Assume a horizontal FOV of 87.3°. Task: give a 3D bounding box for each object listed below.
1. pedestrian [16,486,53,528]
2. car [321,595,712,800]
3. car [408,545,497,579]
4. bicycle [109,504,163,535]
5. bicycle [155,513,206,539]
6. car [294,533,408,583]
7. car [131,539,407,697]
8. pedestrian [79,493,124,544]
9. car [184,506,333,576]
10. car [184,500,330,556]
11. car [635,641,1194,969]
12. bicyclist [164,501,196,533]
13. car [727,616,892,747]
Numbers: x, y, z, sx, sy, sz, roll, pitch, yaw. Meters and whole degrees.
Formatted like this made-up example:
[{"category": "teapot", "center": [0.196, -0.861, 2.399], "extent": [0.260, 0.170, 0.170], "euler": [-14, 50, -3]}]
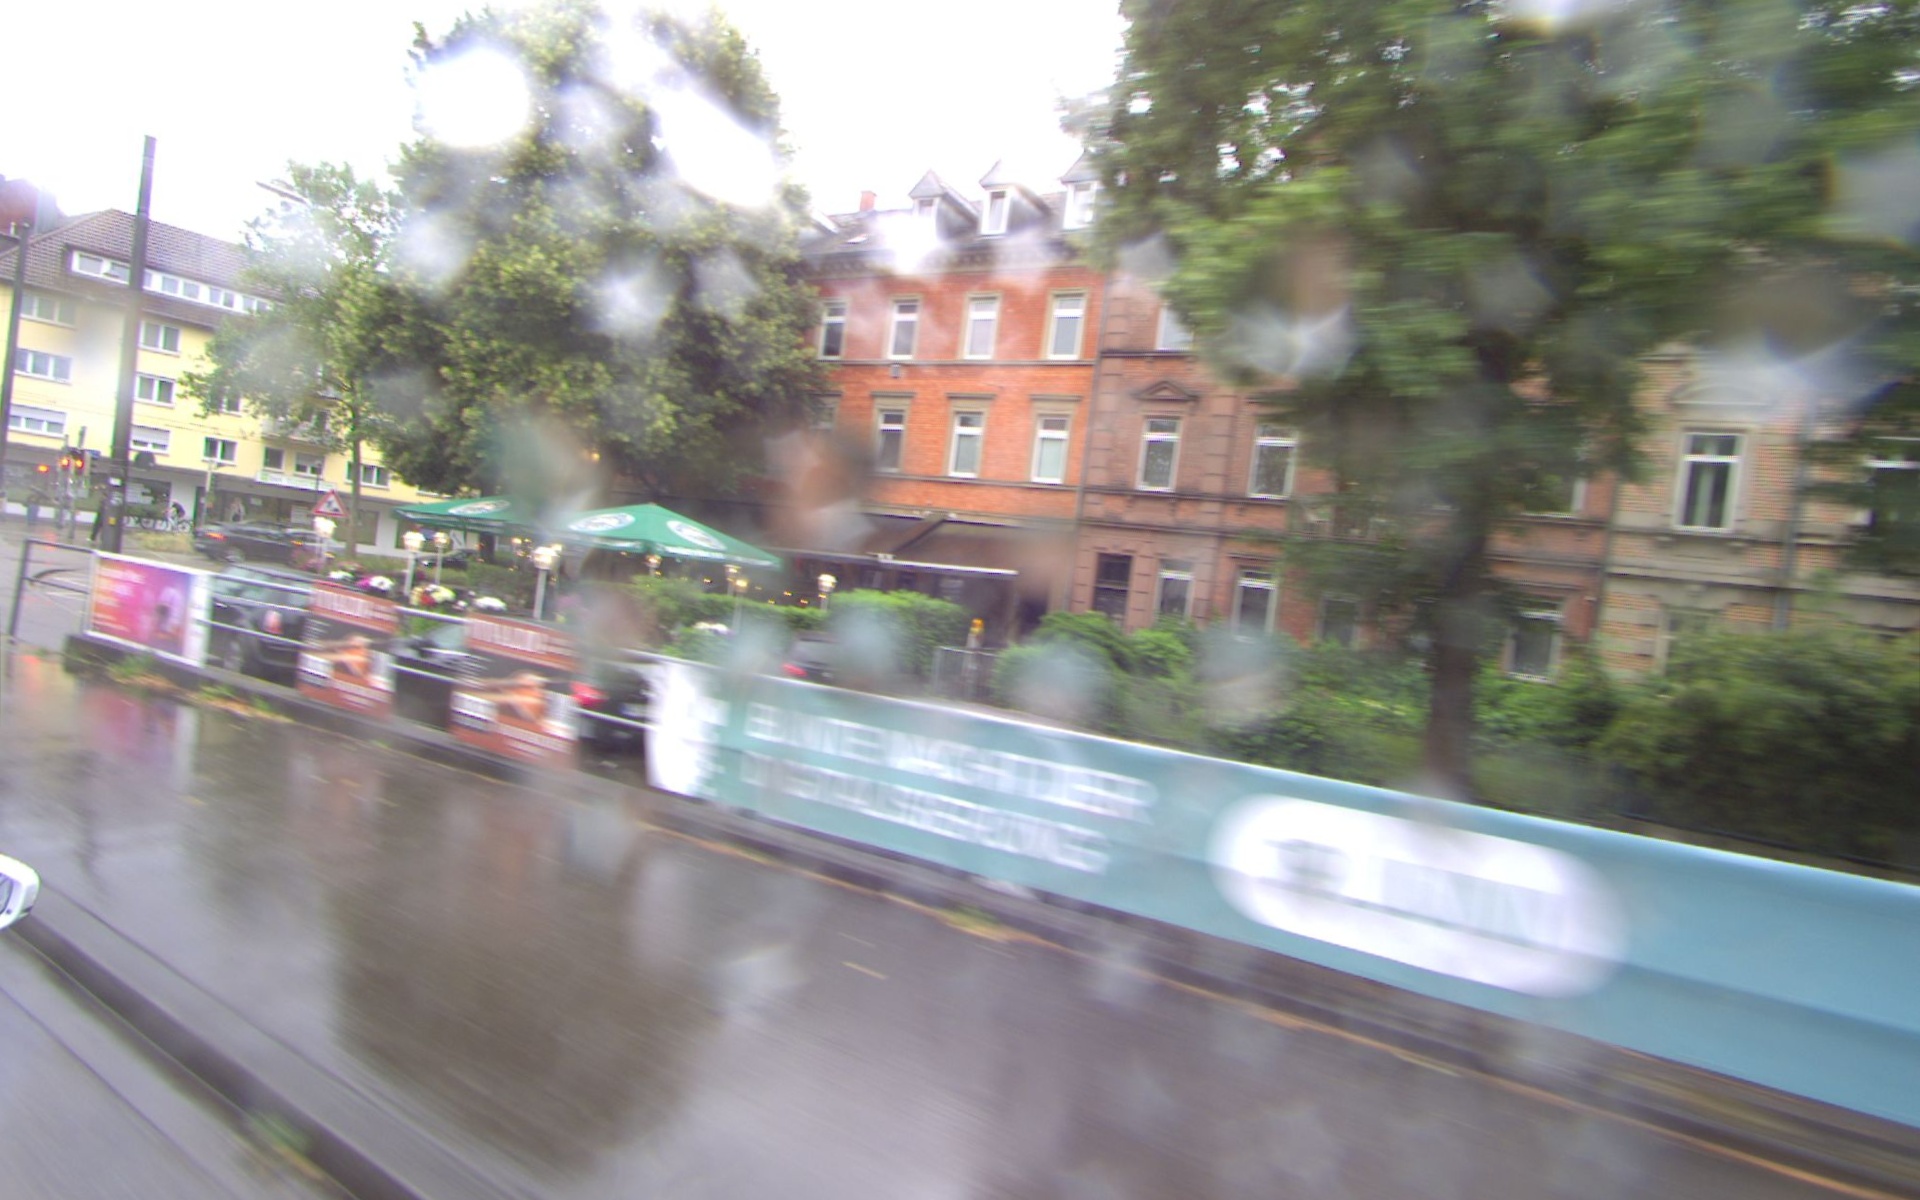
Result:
[{"category": "pedestrian", "center": [-37.929, -3.793, 41.243], "extent": [0.612, 1.552, 0.816], "euler": [7, -1, -6]}, {"category": "car", "center": [-4.673, 0.921, 10.460], "extent": [3.907, 1.416, 1.706], "euler": [7, -2, 32]}, {"category": "car", "center": [-24.136, -1.796, 47.915], "extent": [1.227, 1.095, 3.531], "euler": [7, -2, 35]}, {"category": "bicycle", "center": [-44.191, -4.300, 53.971], "extent": [2.096, 1.277, 0.525], "euler": [9, 0, -44]}, {"category": "bicycle", "center": [-41.748, -3.960, 53.923], "extent": [0.651, 1.039, 2.014], "euler": [6, -2, 44]}, {"category": "car", "center": [-26.805, -1.834, 44.321], "extent": [3.926, 1.508, 1.784], "euler": [9, -1, -42]}, {"category": "car", "center": [-9.190, 0.216, 13.334], "extent": [3.468, 1.457, 1.710], "euler": [8, -4, 34]}, {"category": "pedestrian", "center": [-31.730, -2.992, 37.205], "extent": [0.897, 1.688, 1.013], "euler": [8, -1, -29]}, {"category": "car", "center": [-25.705, -2.151, 36.967], "extent": [1.971, 1.887, 3.985], "euler": [6, -2, 40]}, {"category": "car", "center": [-31.027, -3.123, 44.530], "extent": [1.975, 1.661, 4.928], "euler": [3, -4, 44]}, {"category": "car", "center": [-0.434, 1.401, 8.011], "extent": [4.006, 1.557, 1.736], "euler": [7, -2, 30]}, {"category": "bicyclist", "center": [-41.742, -4.437, 53.853], "extent": [0.924, 1.565, 1.064], "euler": [7, -1, 43]}, {"category": "car", "center": [-2.749, 1.321, 17.528], "extent": [1.972, 1.733, 3.985], "euler": [8, -2, -19]}]
